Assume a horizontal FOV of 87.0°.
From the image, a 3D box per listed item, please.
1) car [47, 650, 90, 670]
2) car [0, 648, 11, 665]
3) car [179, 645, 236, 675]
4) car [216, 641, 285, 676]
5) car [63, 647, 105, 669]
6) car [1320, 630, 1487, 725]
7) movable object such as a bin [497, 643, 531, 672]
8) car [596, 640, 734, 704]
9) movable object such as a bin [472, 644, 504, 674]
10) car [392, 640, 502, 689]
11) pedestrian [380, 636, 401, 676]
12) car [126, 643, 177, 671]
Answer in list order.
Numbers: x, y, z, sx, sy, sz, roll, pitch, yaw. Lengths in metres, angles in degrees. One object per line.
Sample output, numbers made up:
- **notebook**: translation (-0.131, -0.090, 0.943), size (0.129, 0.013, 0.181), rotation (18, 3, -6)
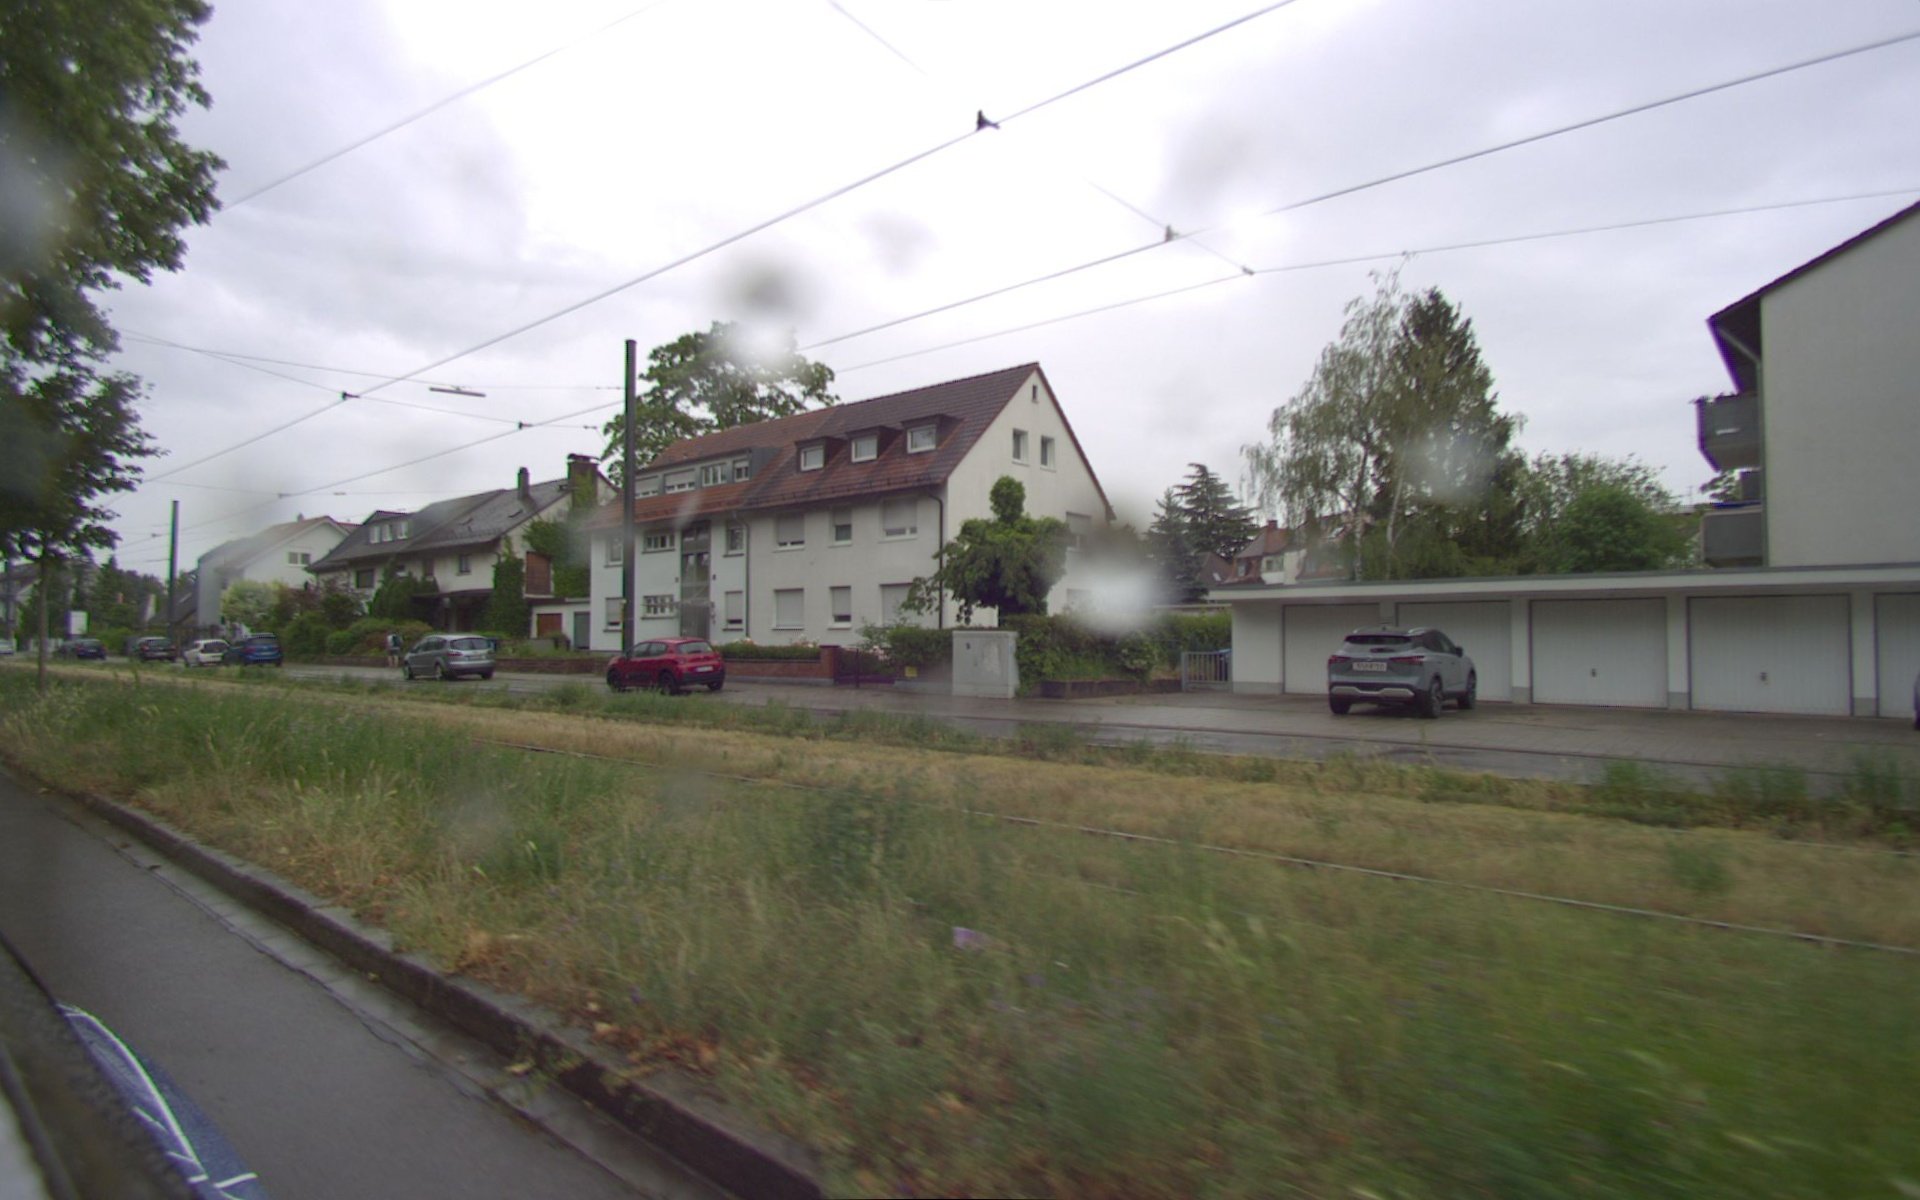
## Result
- **car**: translation (-68.144, 4.554, 77.326), size (3.998, 1.510, 1.869), rotation (-2, -4, 41)
- **car**: translation (-91.105, 5.334, 95.543), size (3.851, 1.528, 1.737), rotation (-2, -1, 40)
- **car**: translation (-41.964, 3.300, 56.414), size (3.598, 1.540, 1.696), rotation (-2, -1, 40)
- **car**: translation (-36.577, 2.980, 52.122), size (4.178, 1.719, 1.826), rotation (-2, -2, 39)
- **car**: translation (-64.549, 4.236, 74.546), size (3.851, 1.528, 1.737), rotation (-2, -1, 40)
- **car**: translation (8.459, 1.396, 19.135), size (1.891, 1.588, 3.947), rotation (-2, -4, 39)
- **movable object such as a bin**: translation (-20.845, 2.661, 47.330), size (0.739, 1.308, 1.241), rotation (-3, -2, 41)
- **car**: translation (-8.193, 1.946, 27.959), size (3.971, 1.558, 1.822), rotation (-2, -1, 41)
- **movable object such as a bin**: translation (-21.653, 2.697, 46.429), size (0.739, 1.308, 1.172), rotation (-3, -2, 41)
- **car**: translation (-18.628, 2.288, 36.637), size (4.682, 1.626, 1.973), rotation (-2, -2, 41)
- **pedestrian**: translation (-26.050, 2.567, 46.309), size (0.868, 1.781, 0.592), rotation (-2, -2, 40)
- **car**: translation (-50.964, 3.588, 63.738), size (4.107, 1.626, 1.737), rotation (-2, -1, 40)
